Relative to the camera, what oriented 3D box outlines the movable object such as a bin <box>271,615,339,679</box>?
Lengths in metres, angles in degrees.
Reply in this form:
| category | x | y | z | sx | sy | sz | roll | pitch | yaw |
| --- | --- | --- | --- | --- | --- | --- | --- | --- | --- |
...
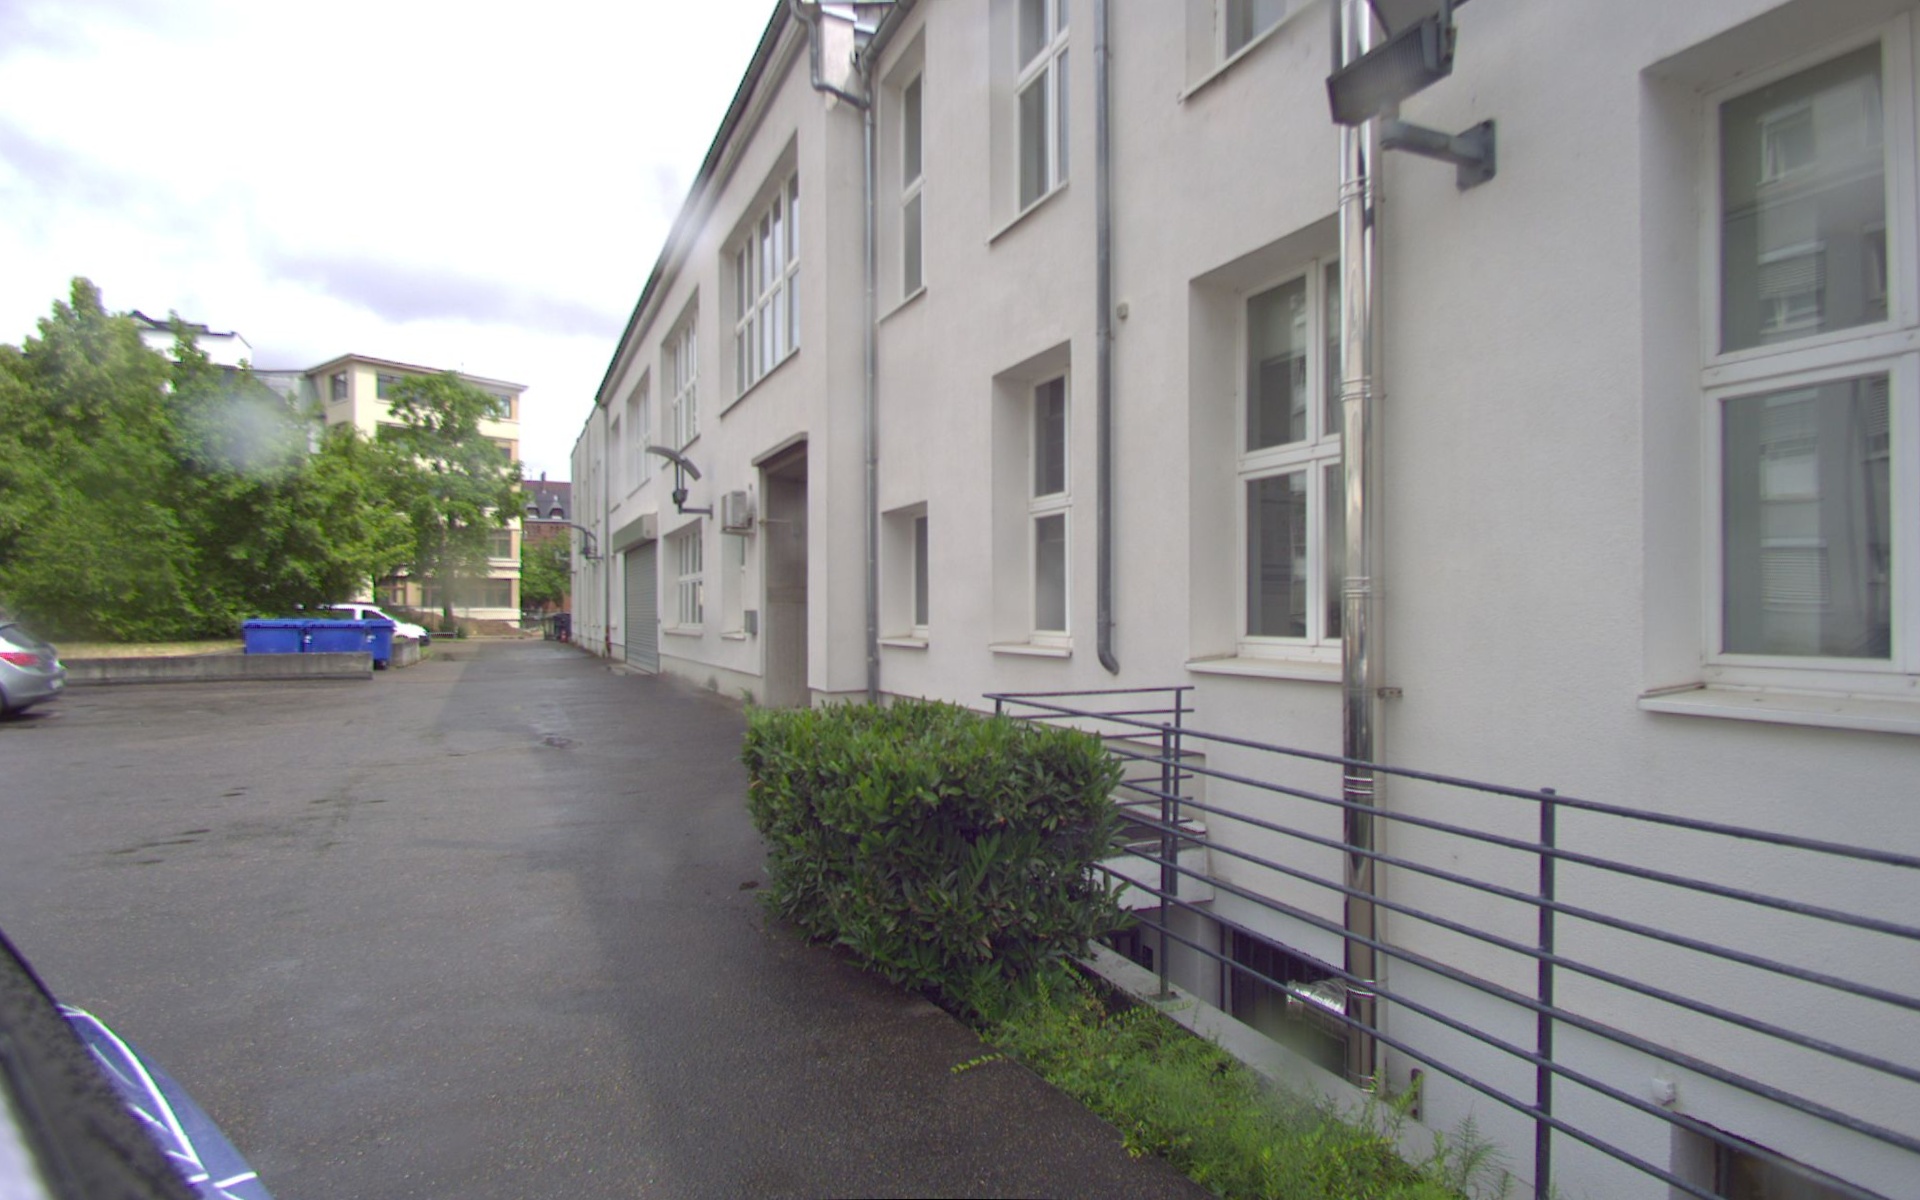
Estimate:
| category | x | y | z | sx | sy | sz | roll | pitch | yaw |
| --- | --- | --- | --- | --- | --- | --- | --- | --- | --- |
| movable object such as a bin | -16.542 | 1.172 | 25.604 | 1.257 | 1.494 | 1.105 | -2 | -1 | -26 |

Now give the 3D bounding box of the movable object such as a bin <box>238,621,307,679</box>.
| category | x | y | z | sx | sy | sz | roll | pitch | yaw |
| --- | --- | --- | --- | --- | --- | --- | --- | --- | --- |
| movable object such as a bin | -16.332 | 1.177 | 24.080 | 1.212 | 1.327 | 1.059 | 0 | -2 | -26 |

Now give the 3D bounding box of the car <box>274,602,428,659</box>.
| category | x | y | z | sx | sy | sz | roll | pitch | yaw |
| --- | --- | --- | --- | --- | --- | --- | --- | --- | --- |
| car | -23.768 | 1.139 | 39.733 | 4.867 | 2.029 | 2.007 | -1 | 0 | -22 |

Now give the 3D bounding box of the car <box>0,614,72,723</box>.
| category | x | y | z | sx | sy | sz | roll | pitch | yaw |
| --- | --- | --- | --- | --- | --- | --- | --- | --- | --- |
| car | -14.987 | 0.948 | 13.827 | 4.022 | 1.469 | 1.673 | 0 | 0 | -29 |

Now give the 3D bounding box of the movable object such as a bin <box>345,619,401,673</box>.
| category | x | y | z | sx | sy | sz | roll | pitch | yaw |
| --- | --- | --- | --- | --- | --- | --- | --- | --- | --- |
| movable object such as a bin | -15.416 | 1.192 | 26.613 | 1.158 | 1.327 | 1.059 | -2 | -1 | -26 |

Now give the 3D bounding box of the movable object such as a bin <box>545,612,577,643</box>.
| category | x | y | z | sx | sy | sz | roll | pitch | yaw |
| --- | --- | --- | --- | --- | --- | --- | --- | --- | --- |
| movable object such as a bin | -20.342 | 1.402 | 51.593 | 1.340 | 1.482 | 1.370 | -2 | -1 | -26 |

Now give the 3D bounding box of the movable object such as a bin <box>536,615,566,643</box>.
| category | x | y | z | sx | sy | sz | roll | pitch | yaw |
| --- | --- | --- | --- | --- | --- | --- | --- | --- | --- |
| movable object such as a bin | -23.143 | 1.622 | 57.248 | 1.389 | 1.482 | 1.566 | -2 | -1 | -26 |

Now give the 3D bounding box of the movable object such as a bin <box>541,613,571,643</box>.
| category | x | y | z | sx | sy | sz | roll | pitch | yaw |
| --- | --- | --- | --- | --- | --- | --- | --- | --- | --- |
| movable object such as a bin | -21.195 | 1.483 | 53.093 | 1.340 | 1.482 | 1.370 | -2 | -1 | -26 |

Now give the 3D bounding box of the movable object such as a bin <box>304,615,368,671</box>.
| category | x | y | z | sx | sy | sz | roll | pitch | yaw |
| --- | --- | --- | --- | --- | --- | --- | --- | --- | --- |
| movable object such as a bin | -15.194 | 1.032 | 24.680 | 1.212 | 1.327 | 1.059 | 0 | -2 | -26 |
